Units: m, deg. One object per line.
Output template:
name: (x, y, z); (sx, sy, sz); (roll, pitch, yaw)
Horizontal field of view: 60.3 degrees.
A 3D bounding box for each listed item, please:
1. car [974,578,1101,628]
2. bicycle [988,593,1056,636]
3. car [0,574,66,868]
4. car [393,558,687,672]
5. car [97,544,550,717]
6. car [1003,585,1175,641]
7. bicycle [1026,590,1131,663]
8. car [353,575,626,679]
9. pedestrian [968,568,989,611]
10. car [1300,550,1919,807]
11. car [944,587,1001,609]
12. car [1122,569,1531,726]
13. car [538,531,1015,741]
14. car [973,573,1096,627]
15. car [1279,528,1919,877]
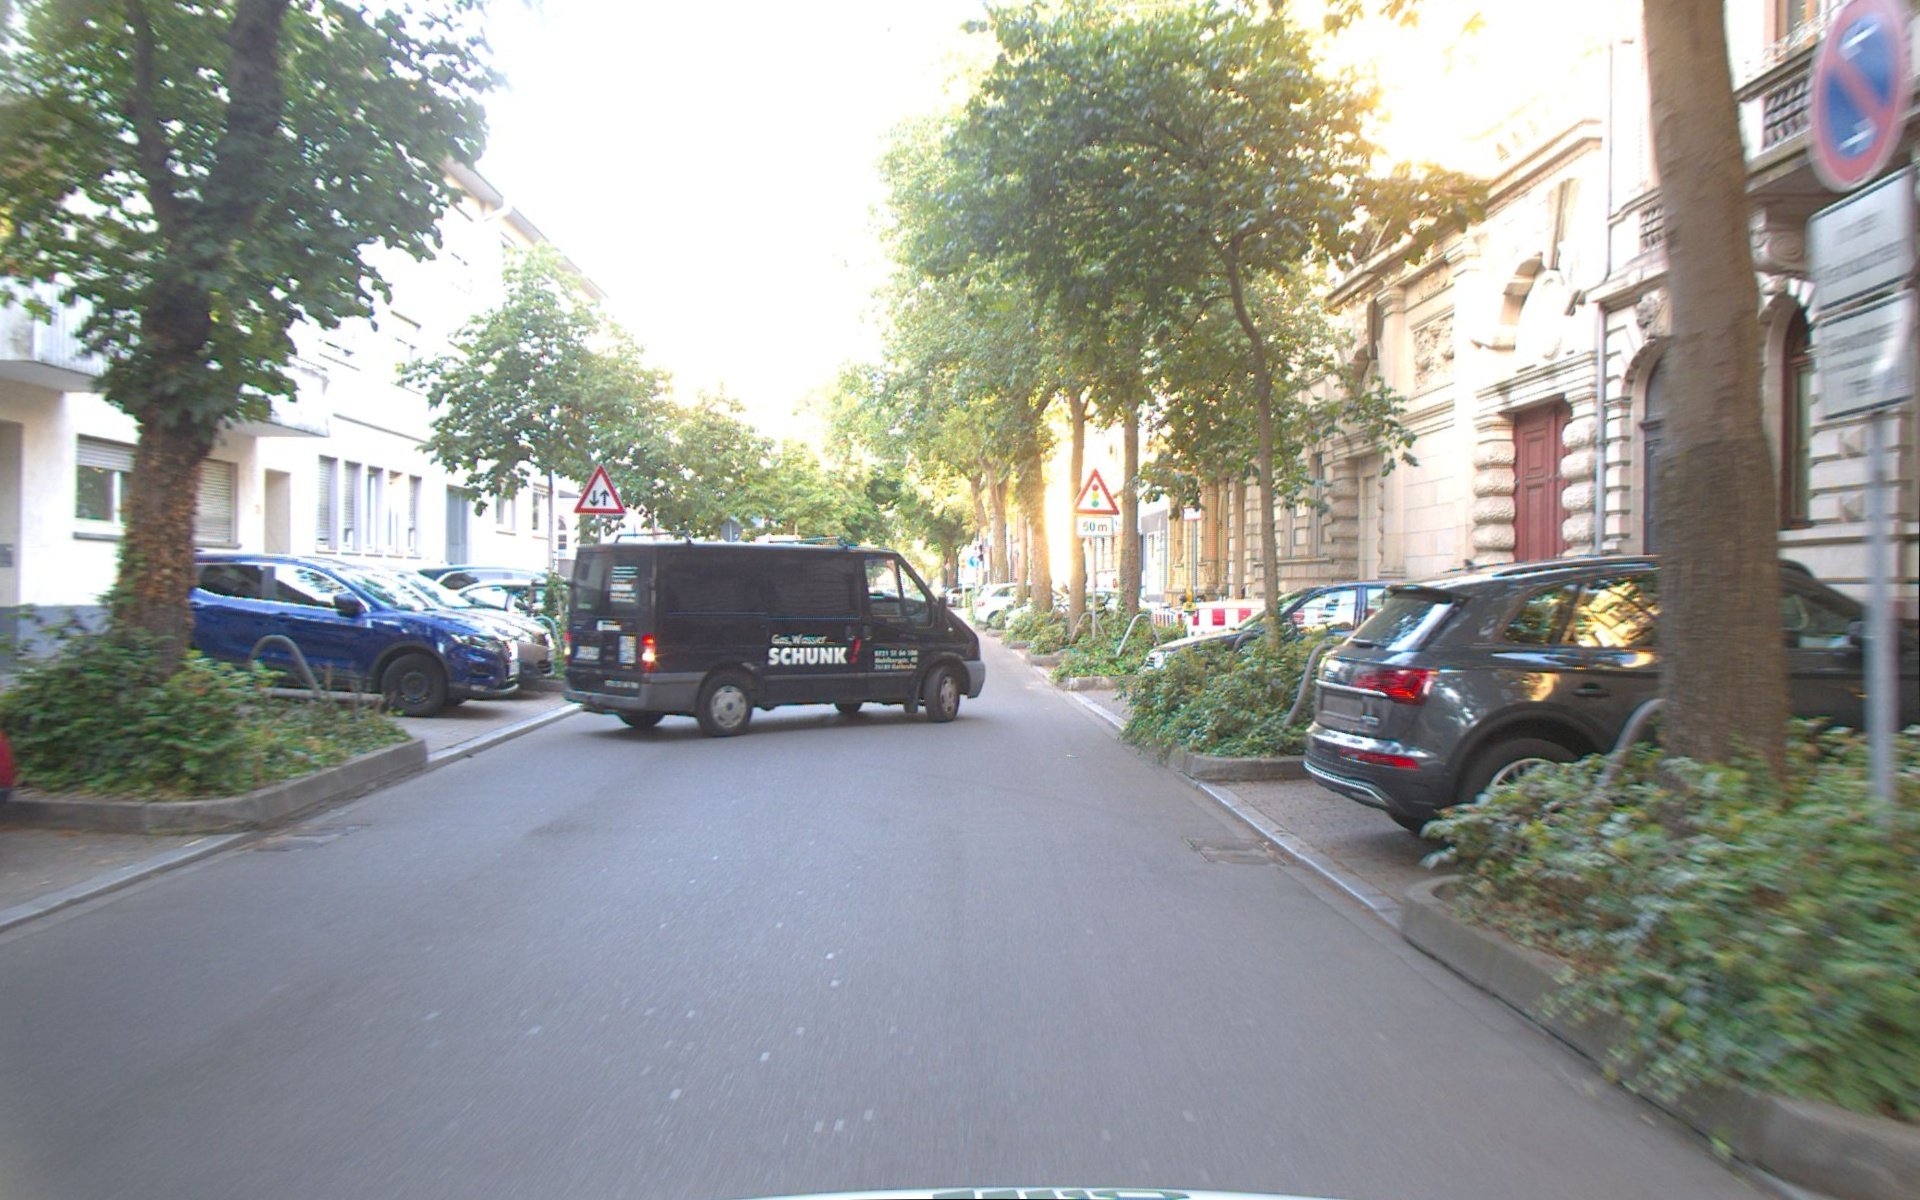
car: (2.558, 0.094, 54.899); (4.137, 1.587, 1.971); (0, 1, 1)
bicycle: (1.886, 0.427, 50.064); (1.985, 1.225, 0.486); (-2, 0, -15)
car: (-7.217, 0.543, 8.415); (4.267, 1.566, 1.771); (3, -1, -2)
car: (-7.212, 0.243, 28.805); (4.572, 1.796, 2.156); (1, 0, -3)
car: (-7.005, 0.322, 18.576); (4.267, 1.600, 1.930); (3, 0, -2)
car: (3.438, 0.344, 44.651); (4.489, 1.462, 1.925); (0, 1, 0)
bicycle: (2.360, 0.521, 33.061); (2.006, 1.384, 0.508); (2, 0, -4)
car: (-7.364, 0.402, 26.163); (3.768, 1.476, 1.854); (1, 1, -2)
pedestrian: (0.936, -0.527, 84.487); (1.022, 2.184, 1.063); (1, -1, -2)
car: (4.643, 0.513, 12.104); (3.927, 1.716, 1.764); (0, 1, -2)
car: (0.912, -0.156, 121.058); (4.108, 1.506, 1.851); (-1, 0, -2)
car: (4.030, 0.497, 18.671); (4.139, 1.507, 1.854); (-2, 0, -2)
car: (-1.932, 0.324, 18.402); (4.960, 2.025, 2.158); (0, 1, -41)
car: (2.794, -0.020, 62.523); (4.451, 1.948, 1.949); (-1, 0, -4)
car: (4.244, 0.518, 9.613); (4.350, 1.748, 1.967); (-1, 0, -2)
